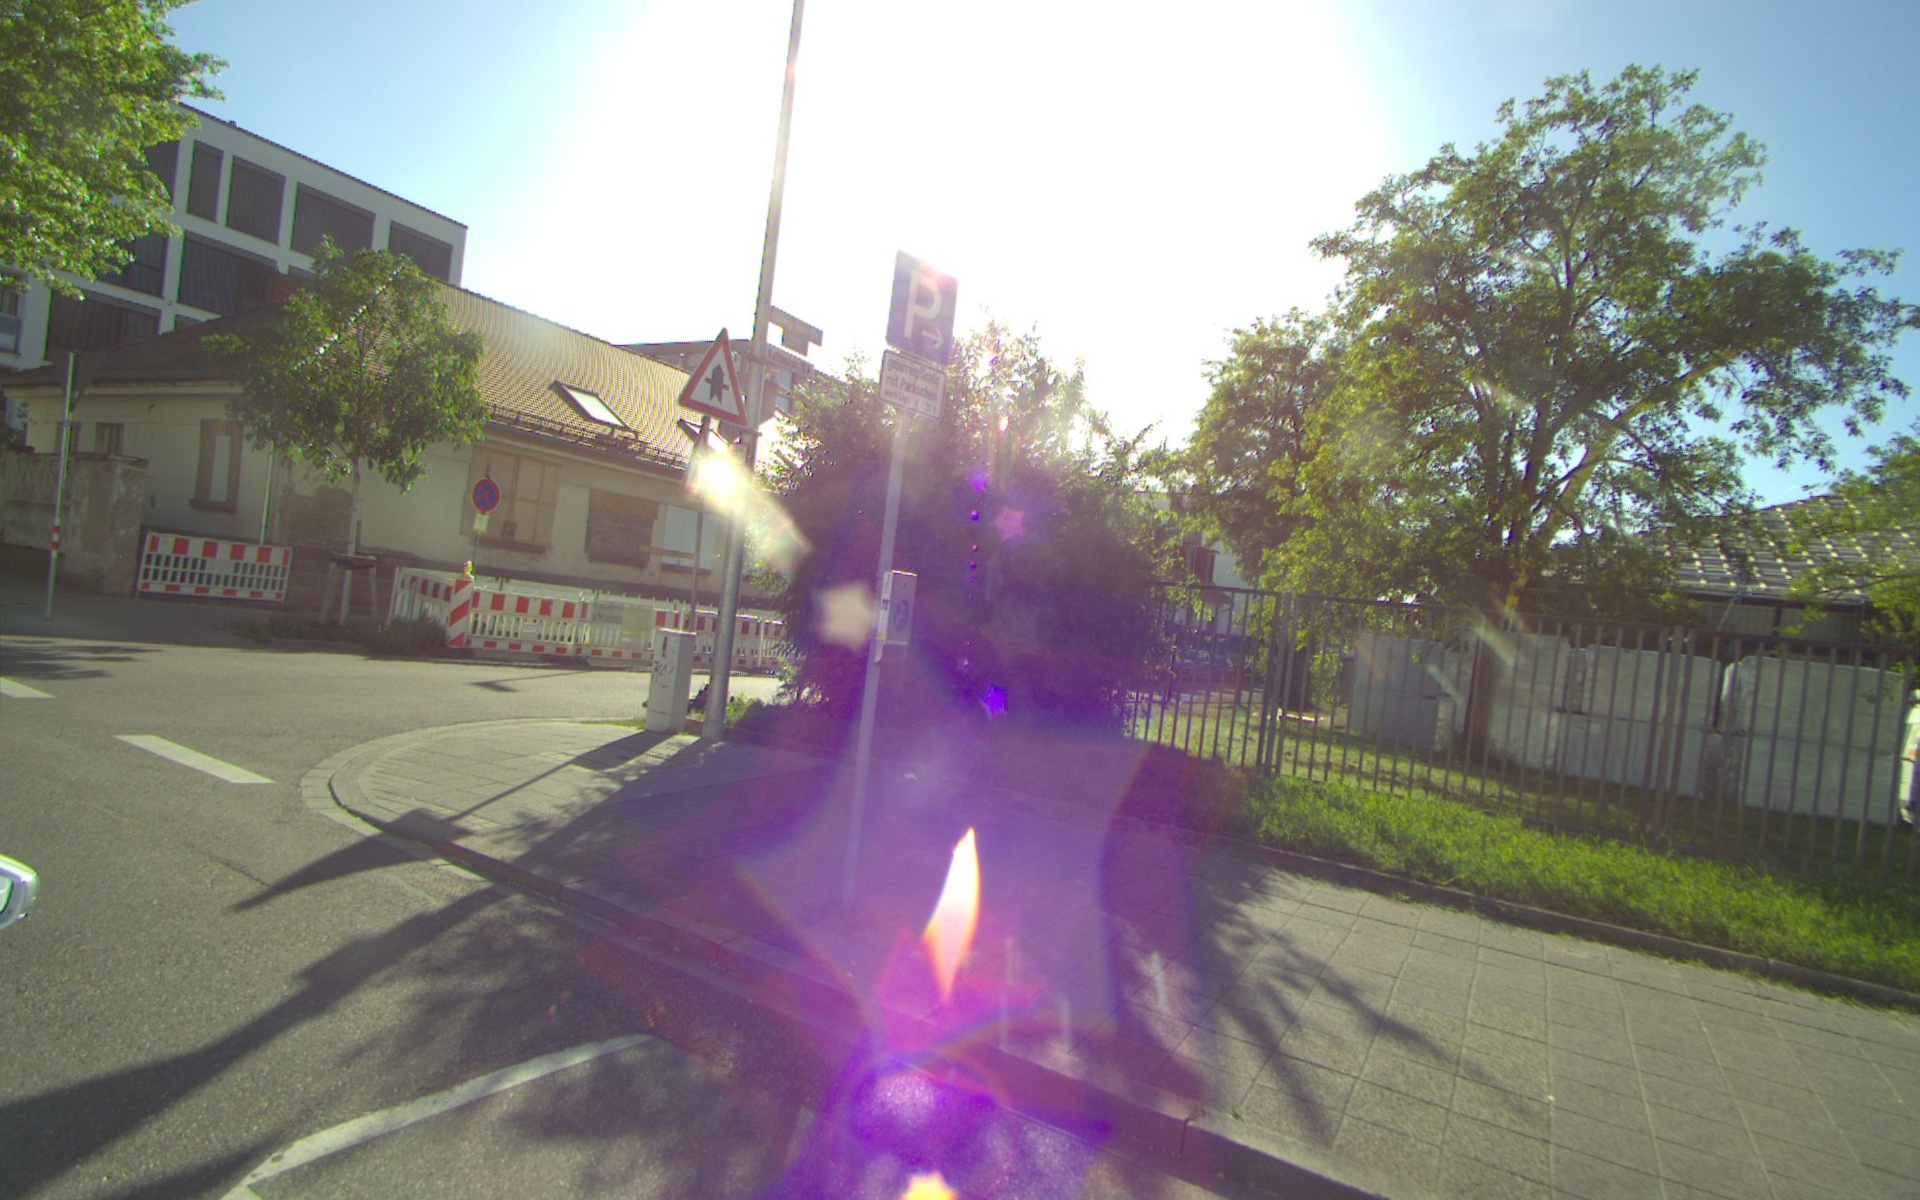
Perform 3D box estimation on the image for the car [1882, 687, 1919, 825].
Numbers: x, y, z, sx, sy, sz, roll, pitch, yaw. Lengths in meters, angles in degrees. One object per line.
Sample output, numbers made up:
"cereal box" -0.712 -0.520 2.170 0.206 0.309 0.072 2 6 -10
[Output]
"car" 16.740 2.658 16.171 1.969 2.229 5.286 8 0 36
